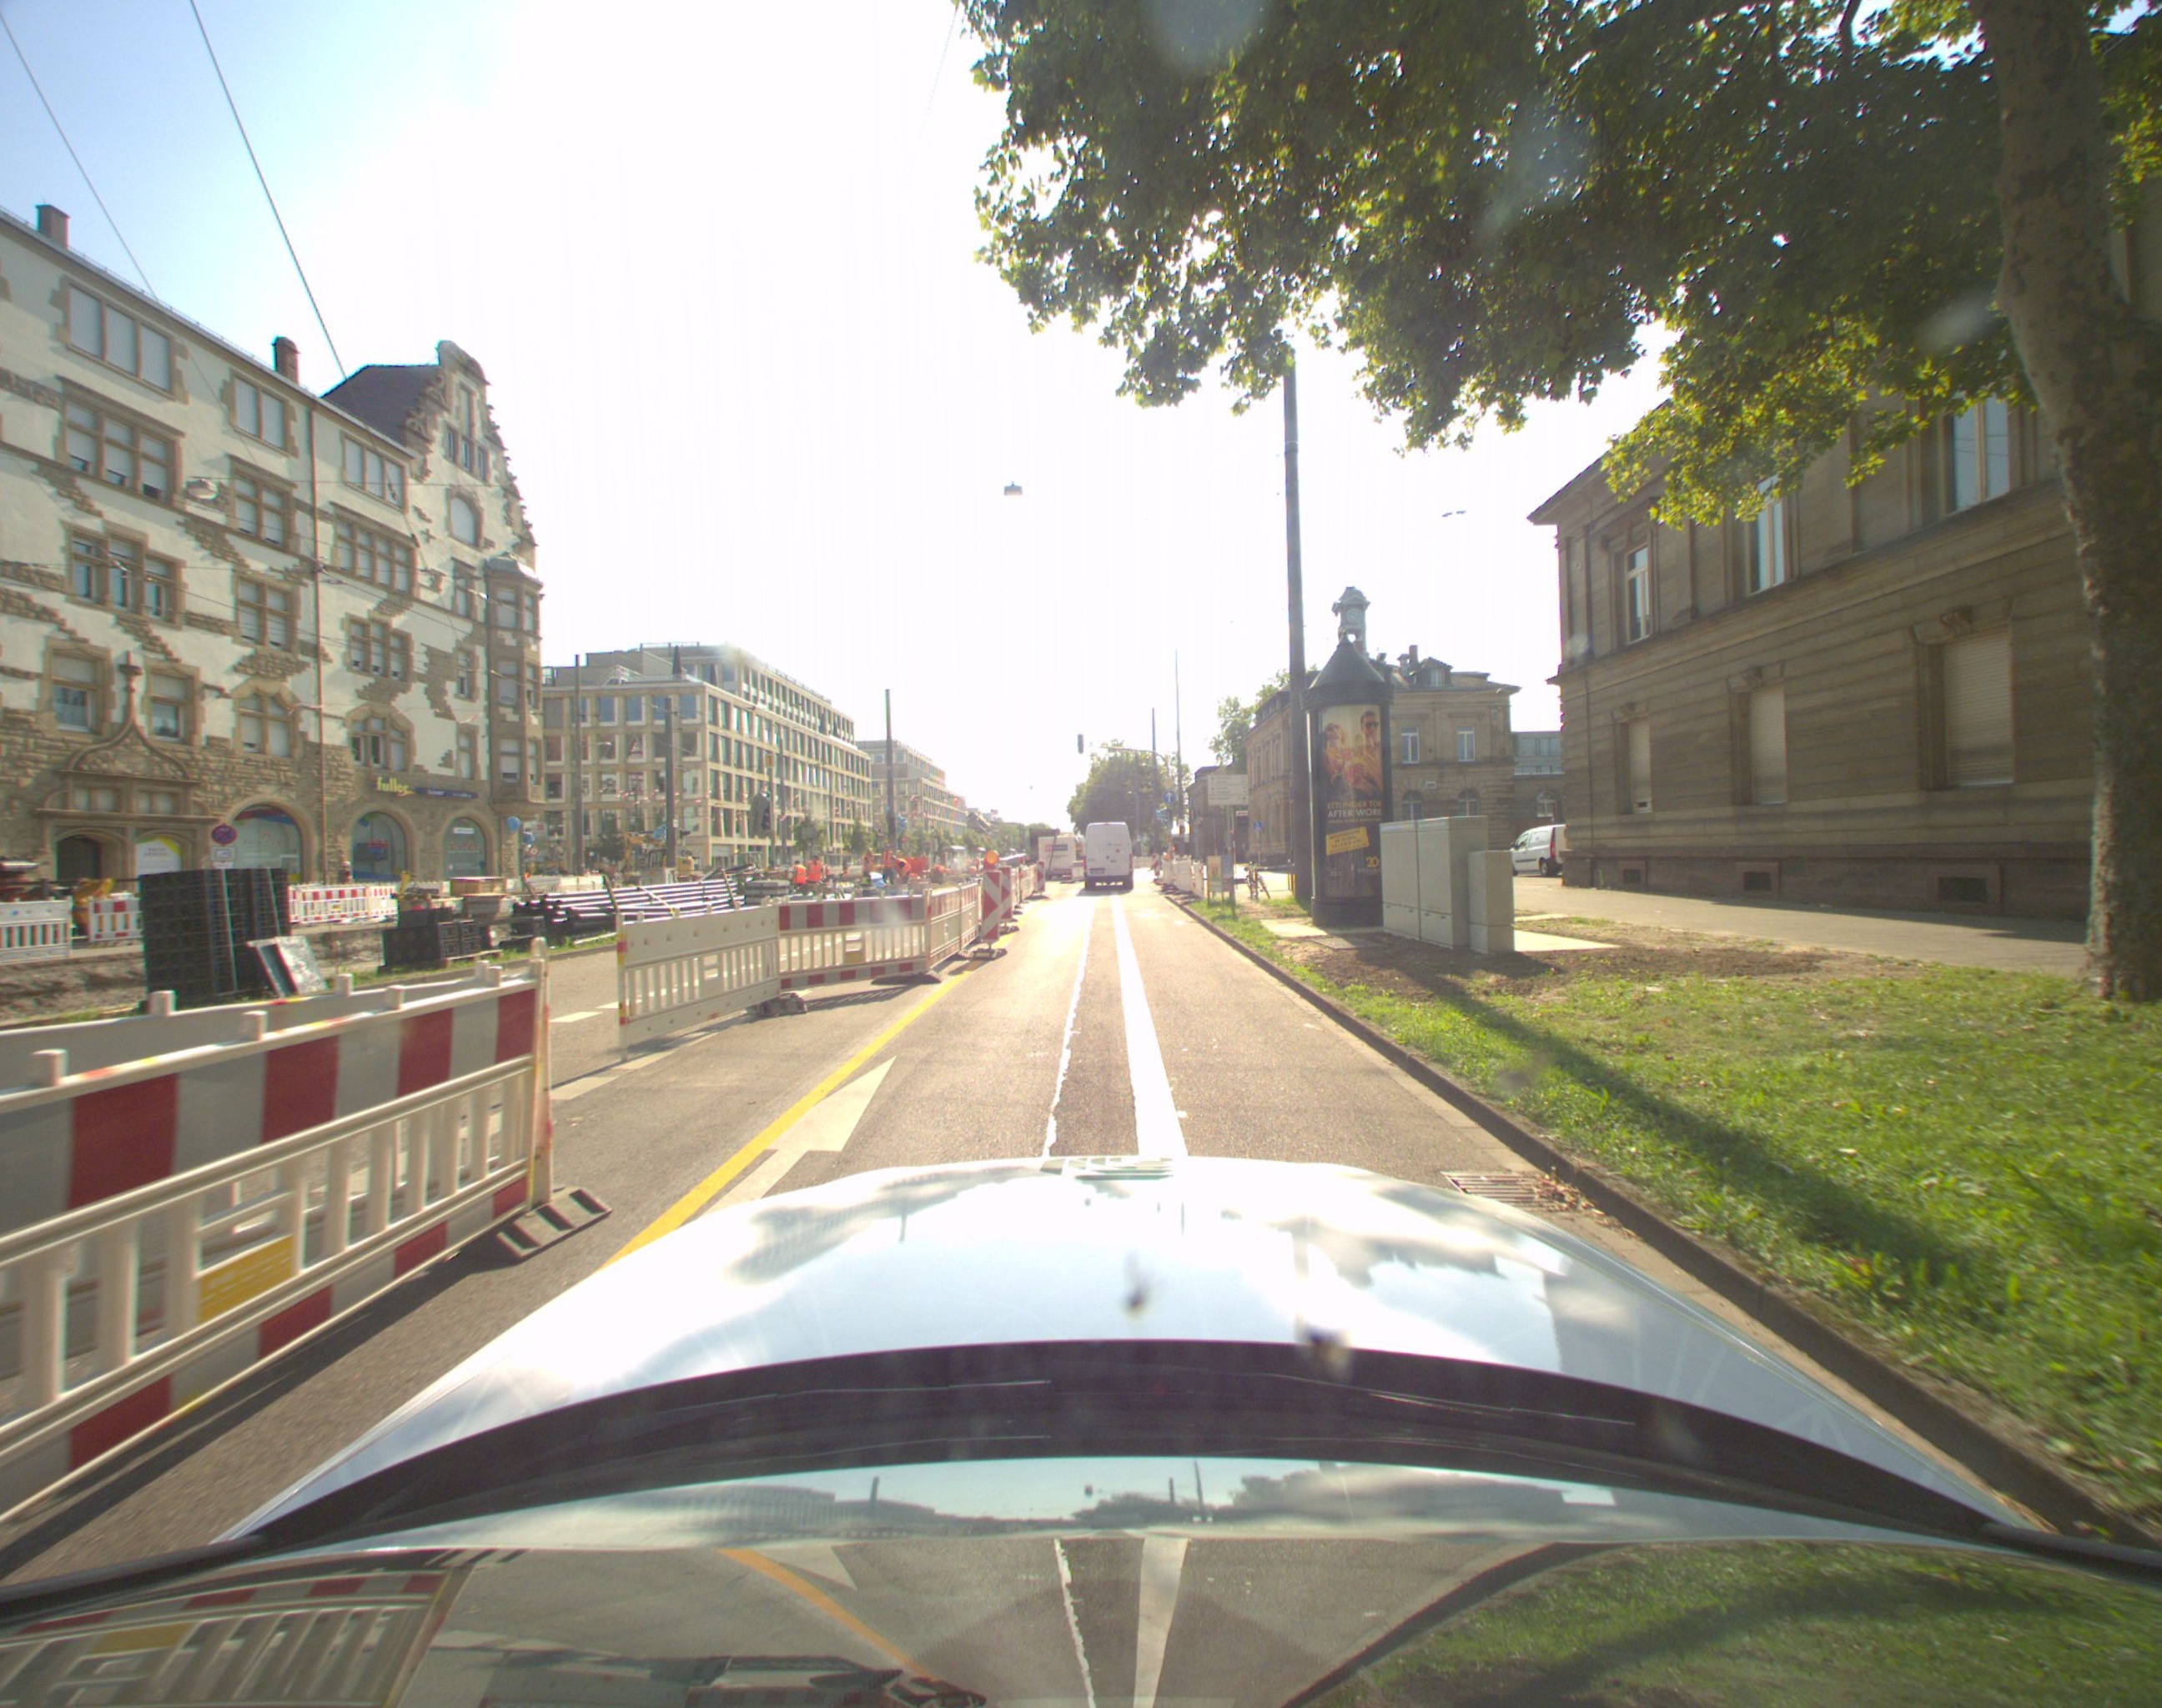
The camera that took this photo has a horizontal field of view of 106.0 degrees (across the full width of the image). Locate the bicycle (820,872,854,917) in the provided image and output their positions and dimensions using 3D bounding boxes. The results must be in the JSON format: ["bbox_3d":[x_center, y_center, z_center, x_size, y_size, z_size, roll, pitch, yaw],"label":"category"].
[{"bbox_3d":[-6.259,1.009,20.963,0.562,1.099,1.962,0,-1,-8],"label":"bicycle"}]

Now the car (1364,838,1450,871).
[{"bbox_3d":[17.574,0.023,44.012,3.978,1.536,1.668,-3,-1,6],"label":"car"}]

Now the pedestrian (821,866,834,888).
[{"bbox_3d":[-22.038,1.979,70.805,0.923,1.865,0.807,-1,-1,-10],"label":"pedestrian"}]

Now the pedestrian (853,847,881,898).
[{"bbox_3d":[-8.016,0.675,30.566,0.715,1.870,0.710,-3,-1,10],"label":"pedestrian"}]

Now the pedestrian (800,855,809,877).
[{"bbox_3d":[-24.176,1.047,71.219,0.756,1.865,0.804,-1,-1,-20],"label":"pedestrian"}]

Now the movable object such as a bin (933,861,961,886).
[{"bbox_3d":[-6.729,0.975,41.066,0.883,1.211,2.214,-2,0,3],"label":"movable object such as a bin"}]

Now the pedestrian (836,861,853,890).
[{"bbox_3d":[-16.180,1.465,55.767,0.781,1.912,0.725,-2,-1,10],"label":"pedestrian"}]

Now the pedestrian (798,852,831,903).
[{"bbox_3d":[-9.649,0.859,29.517,0.835,1.810,0.745,-2,-1,-44],"label":"pedestrian"}]

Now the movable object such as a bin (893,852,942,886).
[{"bbox_3d":[-8.119,0.739,40.698,1.593,1.559,3.289,-2,0,3],"label":"movable object such as a bin"}]

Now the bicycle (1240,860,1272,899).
[{"bbox_3d":[4.810,0.697,22.480,0.536,1.006,1.571,-3,-1,2],"label":"bicycle"}]

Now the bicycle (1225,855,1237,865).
[{"bbox_3d":[16.574,0.696,89.834,0.492,0.999,1.807,-2,2,-18],"label":"bicycle"}]

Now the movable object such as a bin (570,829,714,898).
[{"bbox_3d":[-30.547,0.698,56.874,7.304,4.347,4.988,-2,-2,14],"label":"movable object such as a bin"}]

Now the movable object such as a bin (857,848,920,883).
[{"bbox_3d":[-17.455,1.078,74.590,3.600,2.958,8.478,-1,-1,1],"label":"movable object such as a bin"}]

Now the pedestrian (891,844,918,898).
[{"bbox_3d":[-6.435,0.623,29.679,0.717,1.926,0.677,-2,-1,-36],"label":"pedestrian"}]

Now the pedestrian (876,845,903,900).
[{"bbox_3d":[-7.206,0.691,30.650,0.700,2.015,0.667,-2,-1,-36],"label":"pedestrian"}]

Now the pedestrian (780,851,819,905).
[{"bbox_3d":[-9.711,0.806,28.109,0.821,1.817,0.888,-3,-1,16],"label":"pedestrian"}]

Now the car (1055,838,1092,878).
[{"bbox_3d":[-0.429,0.291,54.139,2.200,2.424,7.199,-2,-1,1],"label":"car"}]

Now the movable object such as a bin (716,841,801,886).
[{"bbox_3d":[-21.932,0.633,55.474,4.838,2.834,2.422,-2,-1,-36],"label":"movable object such as a bin"}]

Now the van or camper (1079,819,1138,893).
[{"bbox_3d":[1.105,0.071,33.939,2.108,2.681,5.251,-4,0,1],"label":"van or camper"}]

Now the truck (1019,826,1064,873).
[{"bbox_3d":[-3.599,-0.375,71.231,2.793,3.912,8.387,0,0,-11],"label":"truck"}]

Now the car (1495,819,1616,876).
[{"bbox_3d":[16.832,-0.196,29.191,1.896,1.783,4.226,-3,-1,2],"label":"car"}]
